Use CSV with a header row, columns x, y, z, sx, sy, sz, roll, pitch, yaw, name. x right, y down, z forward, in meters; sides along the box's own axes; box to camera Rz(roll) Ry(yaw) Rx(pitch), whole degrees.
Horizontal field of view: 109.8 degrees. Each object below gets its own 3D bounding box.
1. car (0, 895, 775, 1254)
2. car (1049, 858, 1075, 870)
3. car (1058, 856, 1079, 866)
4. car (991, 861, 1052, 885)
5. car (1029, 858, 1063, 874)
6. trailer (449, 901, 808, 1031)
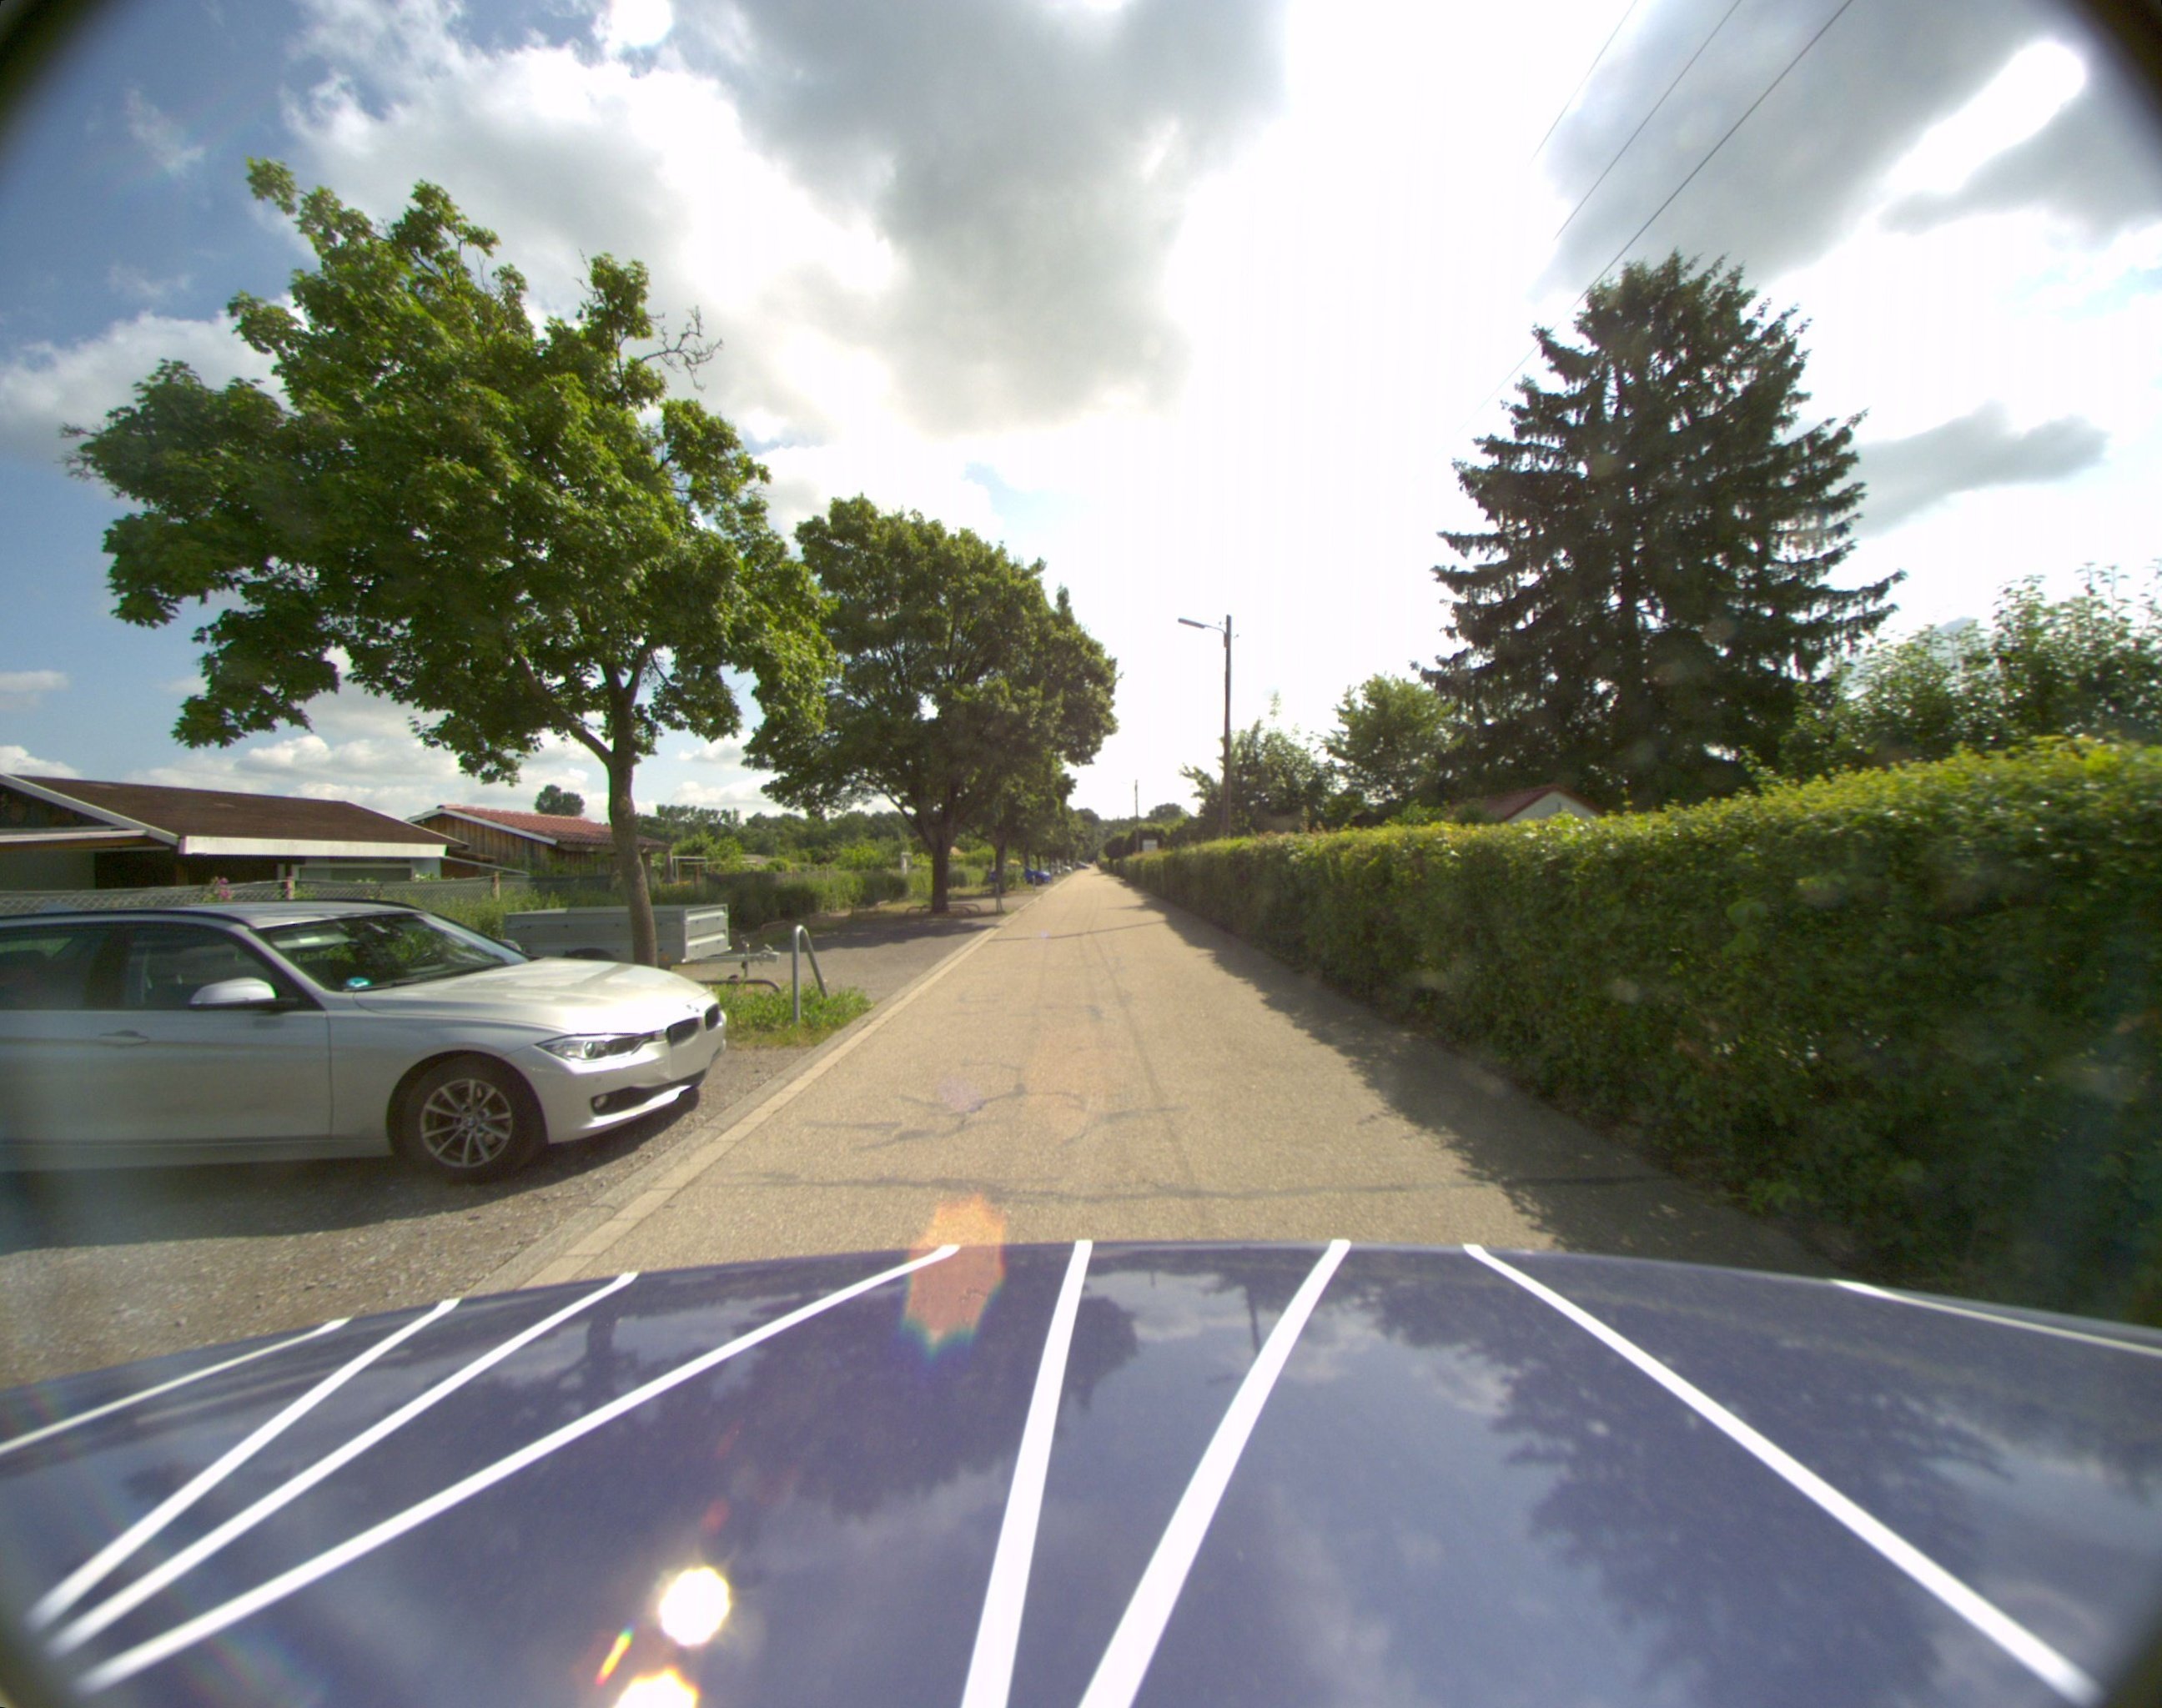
x,y,z,sx,sy,sz,roll,pitch,yaw,name
-4.530,1.093,4.495,4.590,1.457,2.000,-2,0,-2,car
-3.063,1.568,121.841,3.929,1.740,2.000,-3,0,0,car
-2.517,1.394,150.187,3.998,1.824,1.999,-3,1,-3,car
-4.116,1.328,53.222,4.116,1.573,1.781,-1,0,-1,car
-4.288,1.421,93.238,3.929,1.740,2.000,-3,0,0,car
-5.273,1.280,9.243,3.108,1.136,2.000,-3,0,1,trailer
